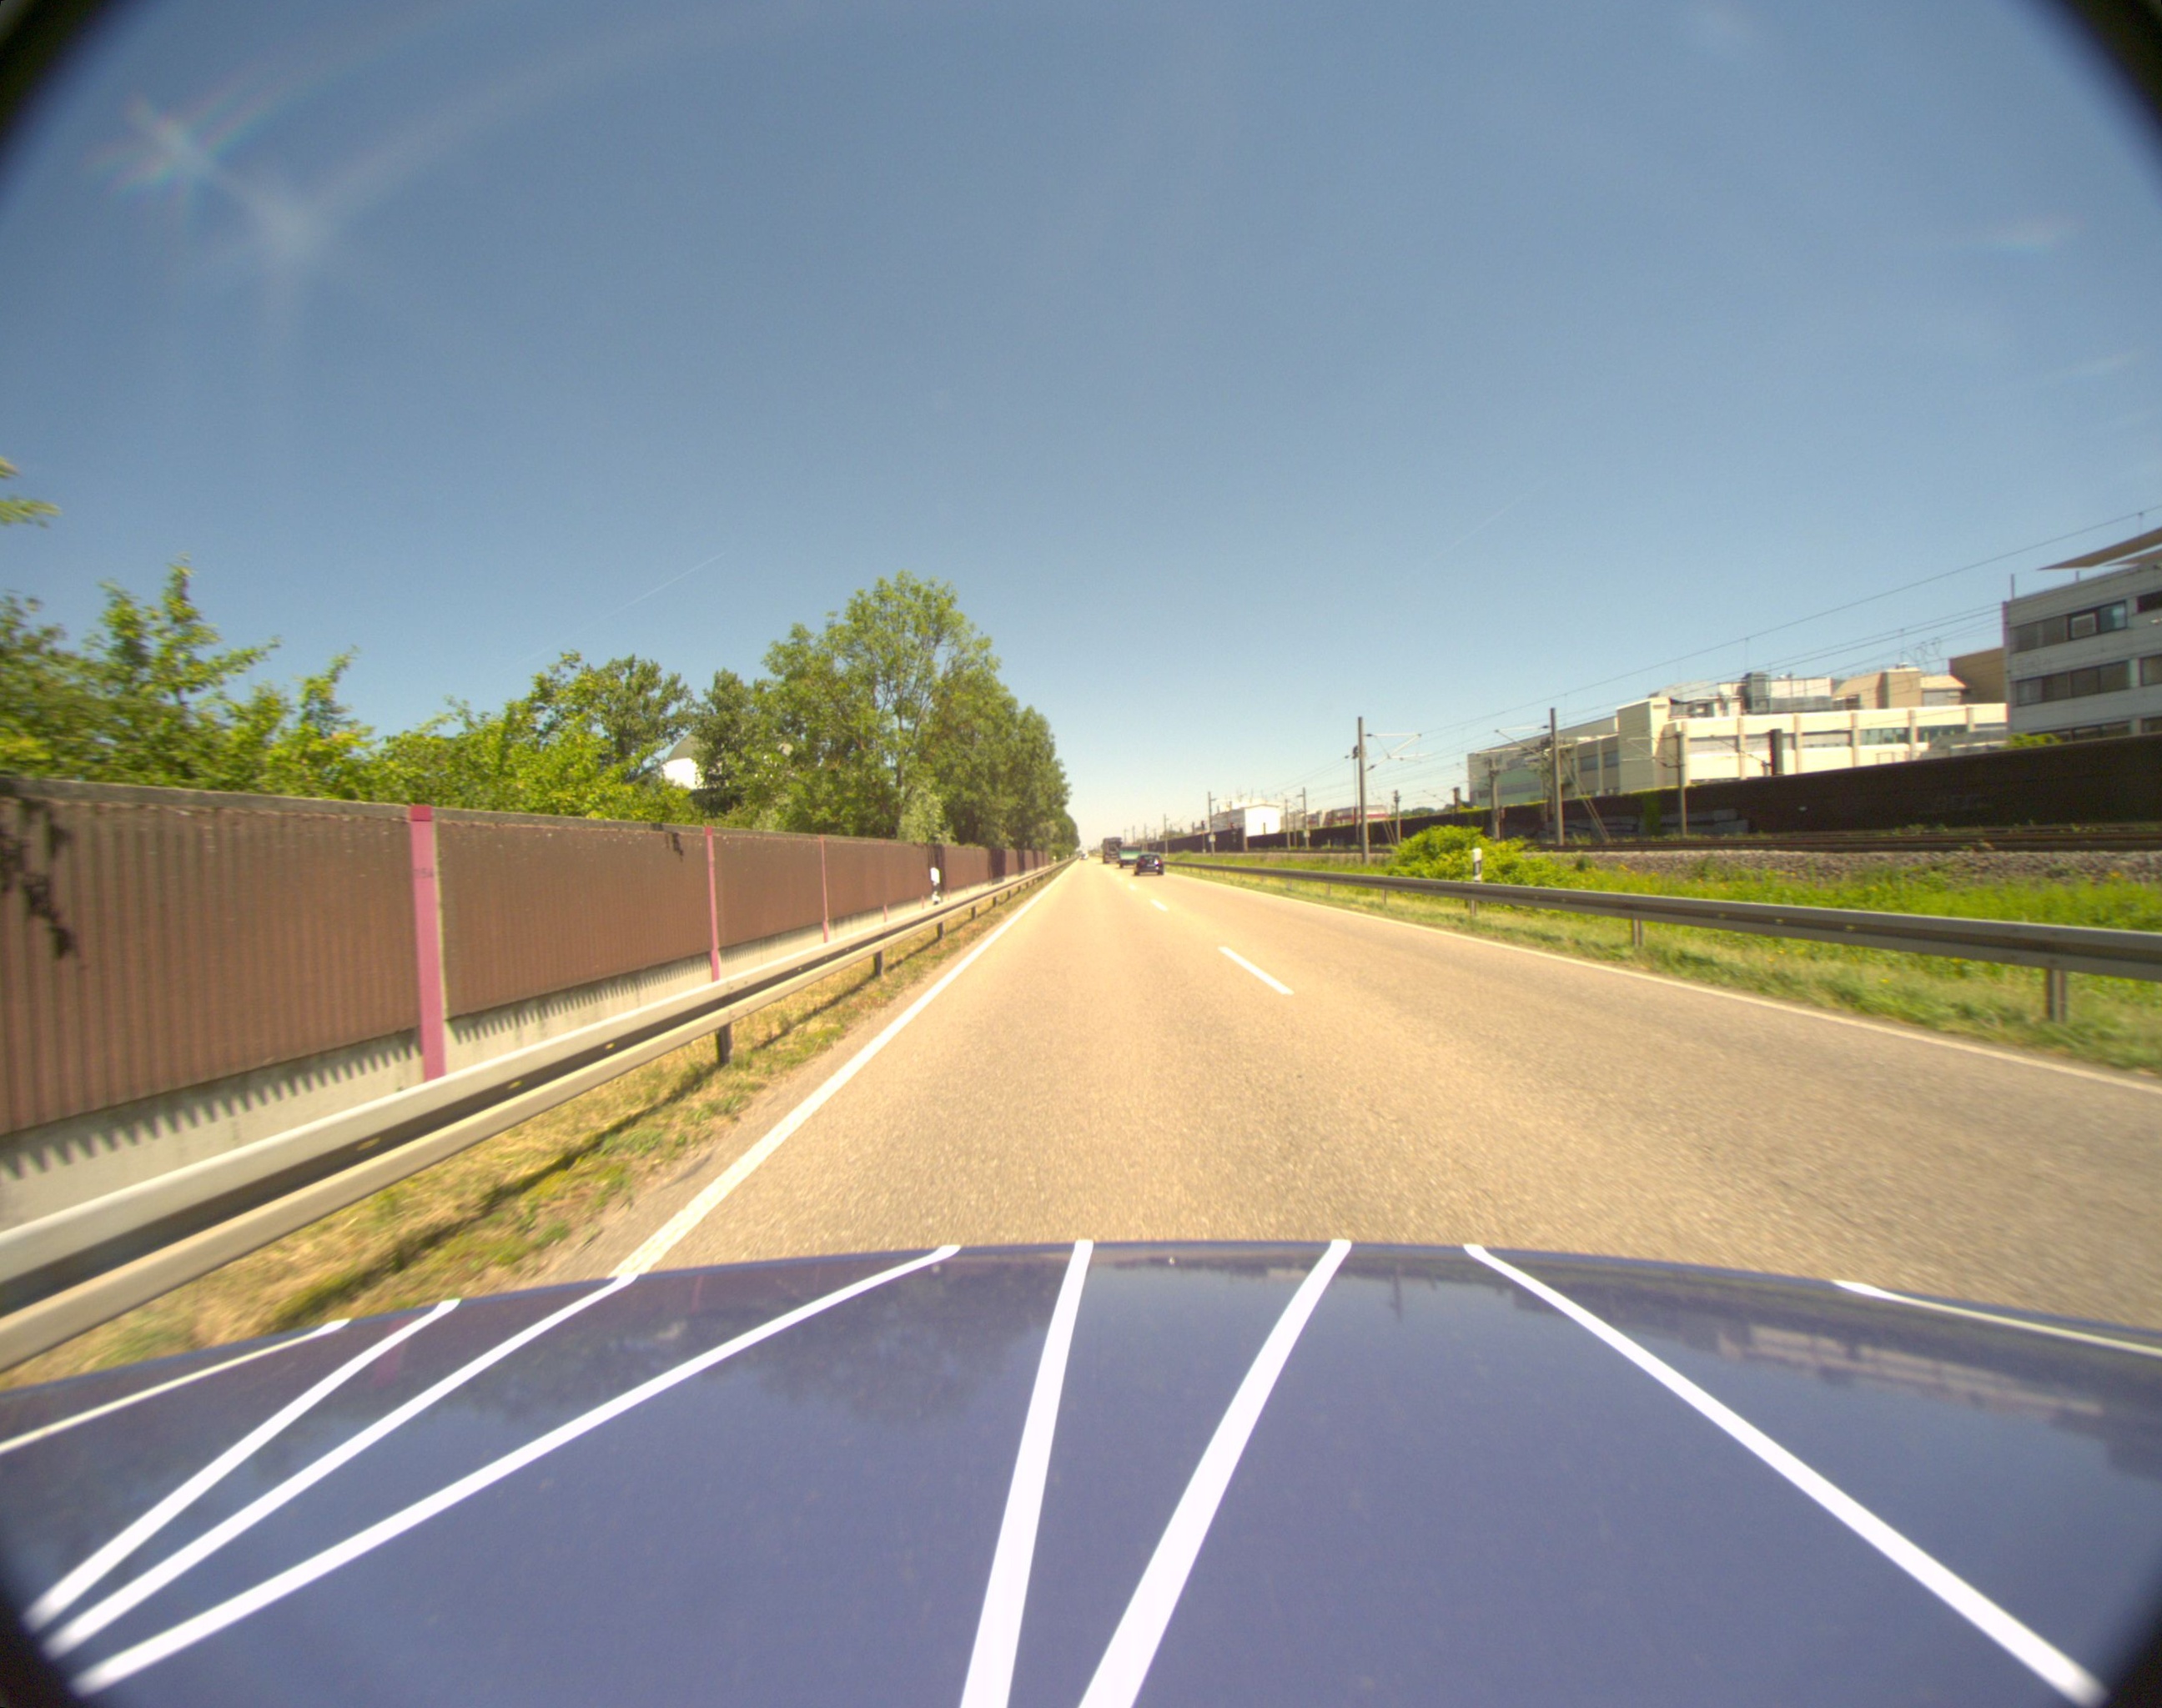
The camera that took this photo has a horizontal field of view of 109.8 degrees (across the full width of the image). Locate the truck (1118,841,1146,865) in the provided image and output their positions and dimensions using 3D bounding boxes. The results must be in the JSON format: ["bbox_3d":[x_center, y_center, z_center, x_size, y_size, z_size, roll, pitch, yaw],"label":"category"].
[{"bbox_3d":[5.003,-0.117,75.676,2.389,2.256,6.236,-2,1,1],"label":"truck"}]

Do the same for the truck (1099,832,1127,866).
[{"bbox_3d":[4.536,-0.747,108.830,3.054,4.449,10.585,-2,1,-2],"label":"truck"}]

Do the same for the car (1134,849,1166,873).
[{"bbox_3d":[4.513,0.442,50.066,1.803,1.455,4.000,-2,1,1],"label":"car"}]

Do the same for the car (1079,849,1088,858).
[{"bbox_3d":[0.627,-0.059,185.005,1.998,2.002,4.000,-2,1,3],"label":"car"}]
